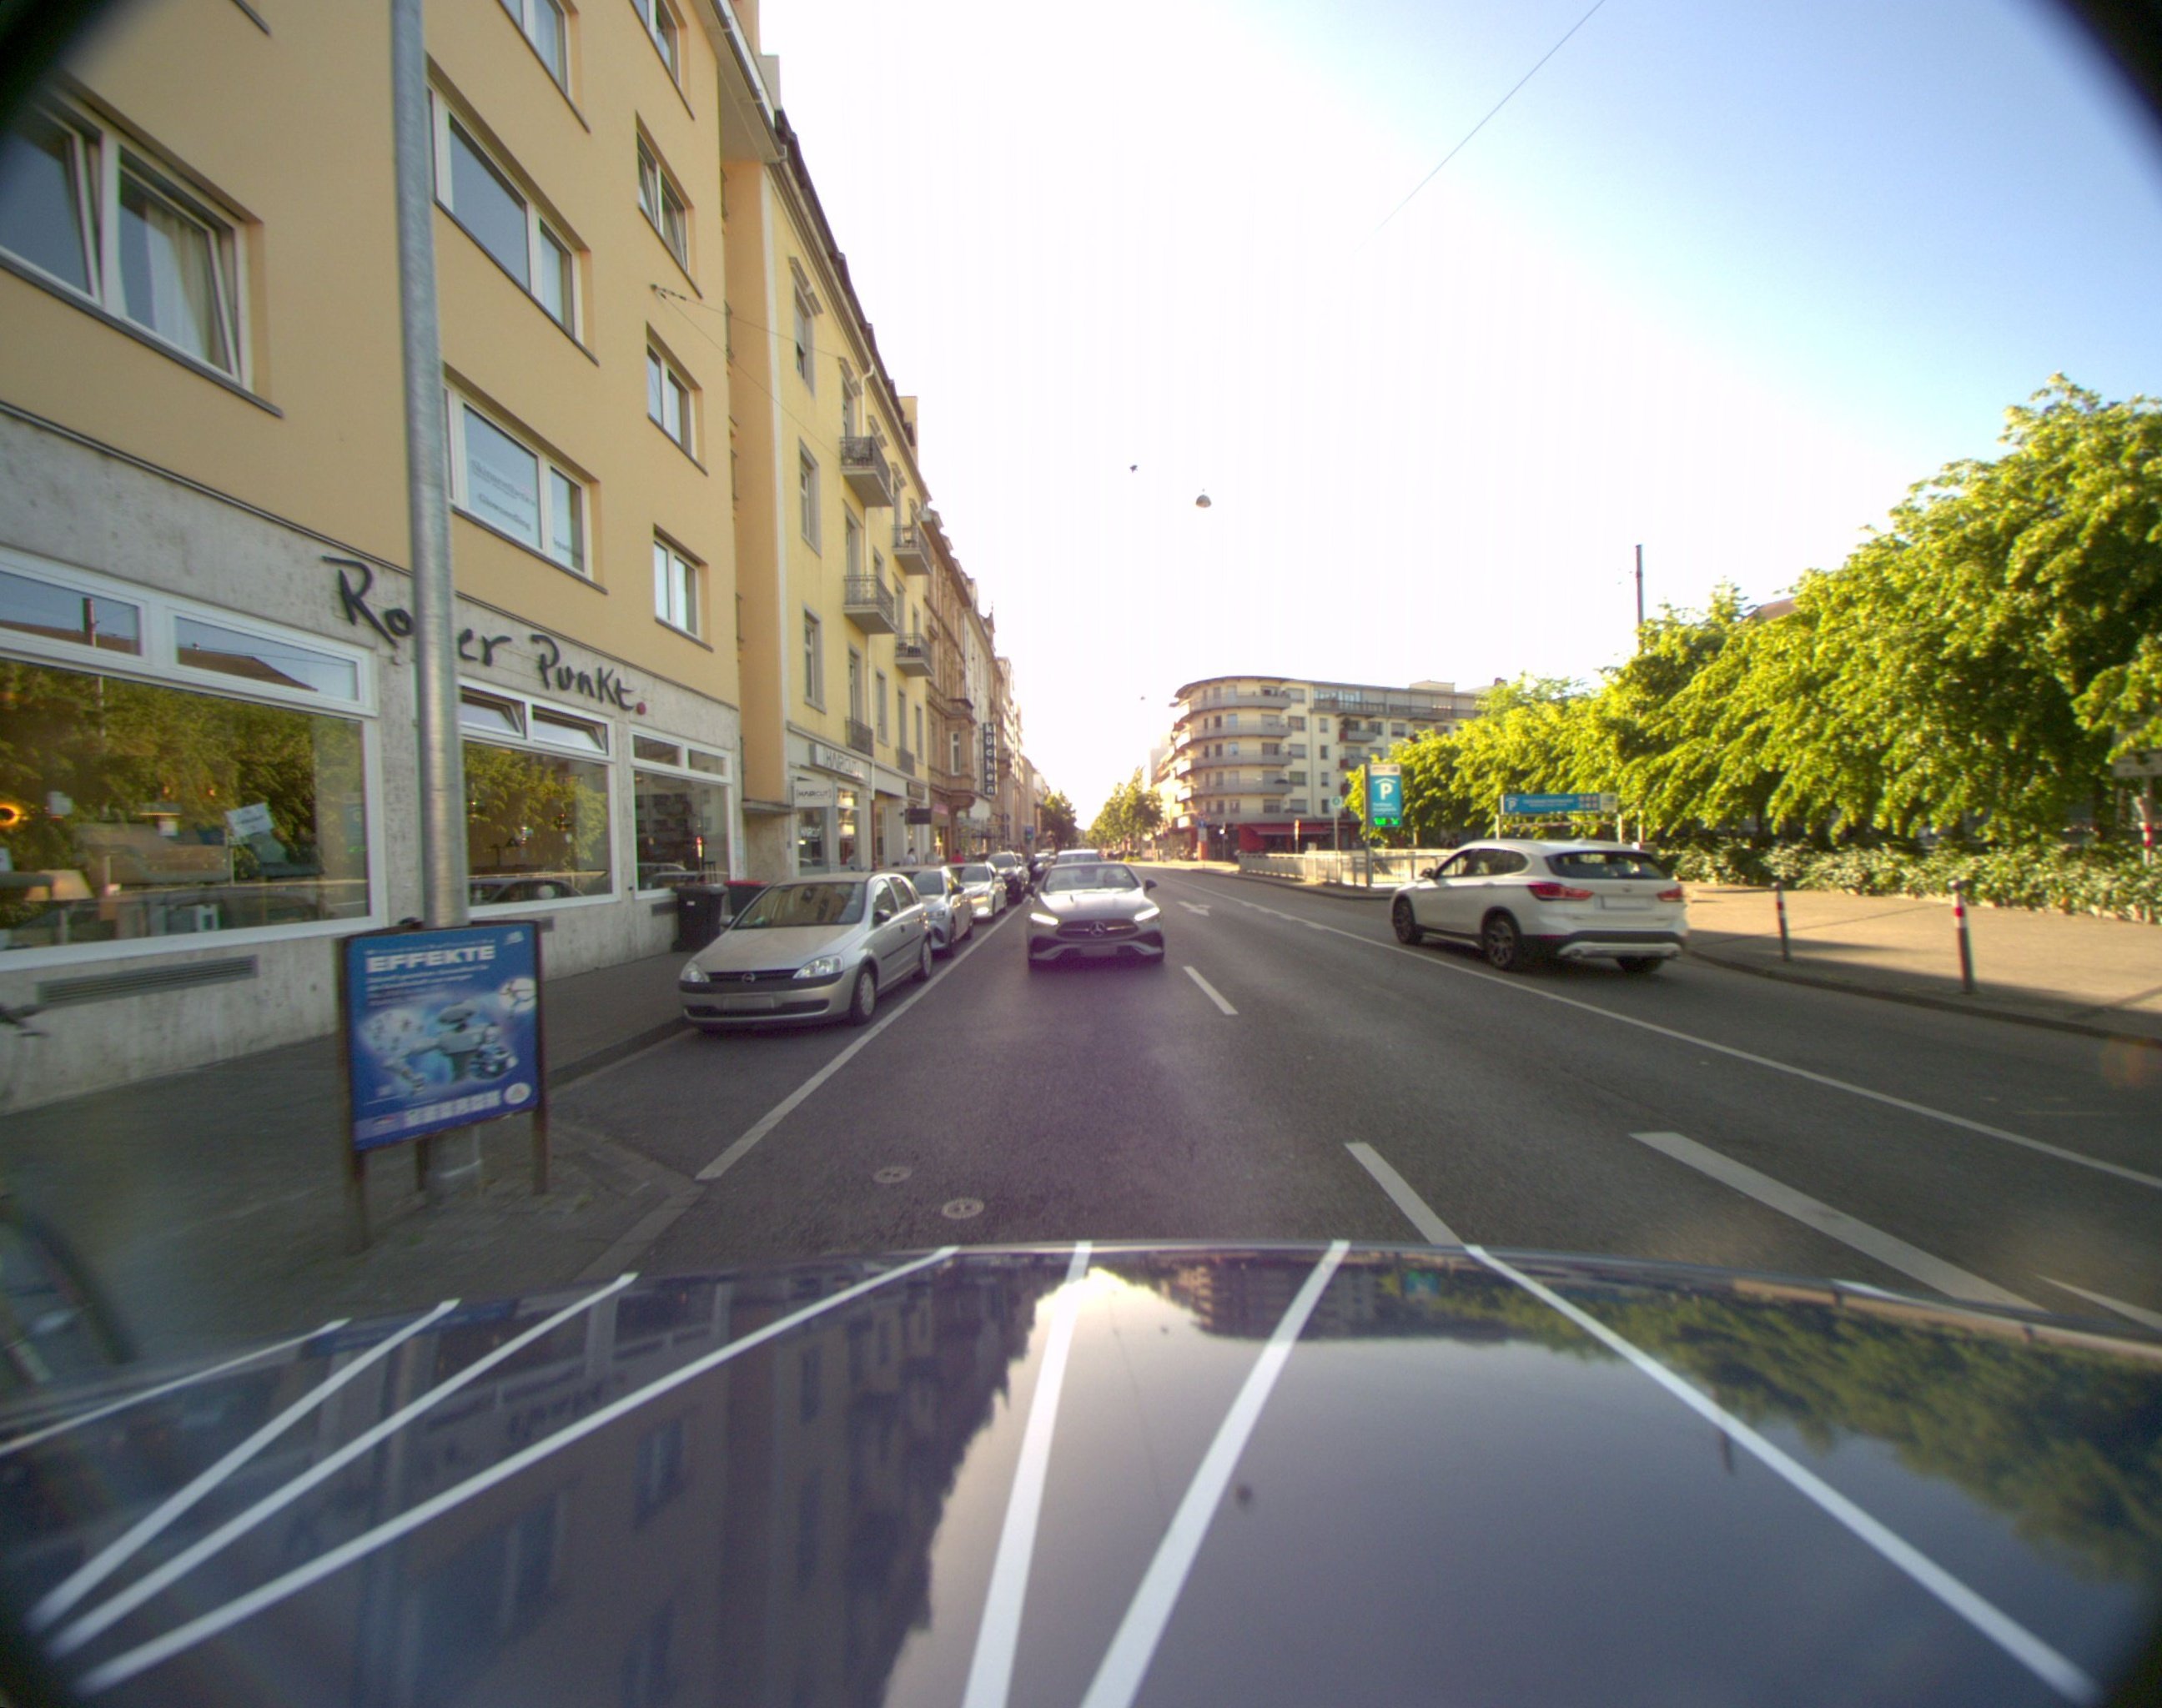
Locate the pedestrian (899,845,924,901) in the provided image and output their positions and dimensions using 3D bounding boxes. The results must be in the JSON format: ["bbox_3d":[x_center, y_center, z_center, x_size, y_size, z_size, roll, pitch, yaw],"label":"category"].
[{"bbox_3d":[-5.952,0.652,26.708,0.673,1.942,0.615,-2,1,-3],"label":"pedestrian"}]

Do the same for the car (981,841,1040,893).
[{"bbox_3d":[-2.903,0.481,32.042,1.998,2.002,4.000,-2,1,1],"label":"car"}]

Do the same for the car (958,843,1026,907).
[{"bbox_3d":[-2.894,0.622,25.026,1.999,1.867,3.997,-2,1,-6],"label":"car"}]

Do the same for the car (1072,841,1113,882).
[{"bbox_3d":[0.597,0.352,39.414,1.998,2.002,4.000,-2,1,1],"label":"car"}]

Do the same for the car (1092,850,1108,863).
[{"bbox_3d":[2.563,0.299,104.235,1.999,1.758,3.999,-1,1,-1],"label":"car"}]

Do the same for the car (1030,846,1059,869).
[{"bbox_3d":[-2.914,0.233,61.176,1.998,1.718,4.000,-2,1,1],"label":"car"}]

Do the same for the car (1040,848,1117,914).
[{"bbox_3d":[-0.040,0.710,22.324,1.998,1.718,4.000,-2,1,1],"label":"car"}]

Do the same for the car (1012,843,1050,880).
[{"bbox_3d":[-2.877,0.414,44.558,1.999,2.002,4.191,-2,1,-1],"label":"car"}]

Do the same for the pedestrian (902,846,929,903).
[{"bbox_3d":[-5.645,0.679,25.963,0.694,1.895,0.906,-2,1,-3],"label":"pedestrian"}]

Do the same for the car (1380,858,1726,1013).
[{"bbox_3d":[5.740,0.857,10.008,1.846,1.538,4.239,1,1,-1],"label":"car"}]

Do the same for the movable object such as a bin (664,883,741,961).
[{"bbox_3d":[-6.098,1.072,12.285,0.703,1.154,0.960,-2,1,1],"label":"movable object such as a bin"}]

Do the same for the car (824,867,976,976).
[{"bbox_3d":[-2.874,0.998,12.943,1.741,1.417,3.999,-2,1,-2],"label":"car"}]

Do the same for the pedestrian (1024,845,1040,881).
[{"bbox_3d":[-2.596,0.475,40.338,0.610,1.912,0.714,-1,1,12],"label":"pedestrian"}]

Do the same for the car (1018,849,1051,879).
[{"bbox_3d":[-3.044,0.614,50.543,1.999,1.852,3.999,-2,1,-1],"label":"car"}]

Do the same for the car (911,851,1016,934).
[{"bbox_3d":[-2.759,0.835,18.732,1.999,1.725,4.197,-2,1,-2],"label":"car"}]

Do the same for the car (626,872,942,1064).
[{"bbox_3d":[-2.795,0.986,8.211,1.693,1.390,4.000,-2,1,2],"label":"car"}]

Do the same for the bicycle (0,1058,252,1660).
[{"bbox_3d":[-3.375,1.181,1.799,2.049,1.174,0.683,-1,1,1],"label":"bicycle"}]

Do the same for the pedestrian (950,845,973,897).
[{"bbox_3d":[-4.478,0.605,28.425,0.694,1.895,0.906,-2,1,-3],"label":"pedestrian"}]

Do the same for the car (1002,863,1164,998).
[{"bbox_3d":[0.103,0.966,11.496,1.910,1.454,4.364,-3,1,2],"label":"car"}]

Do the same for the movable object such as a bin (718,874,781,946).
[{"bbox_3d":[-6.109,1.018,14.054,0.703,1.232,0.960,-2,1,1],"label":"movable object such as a bin"}]
